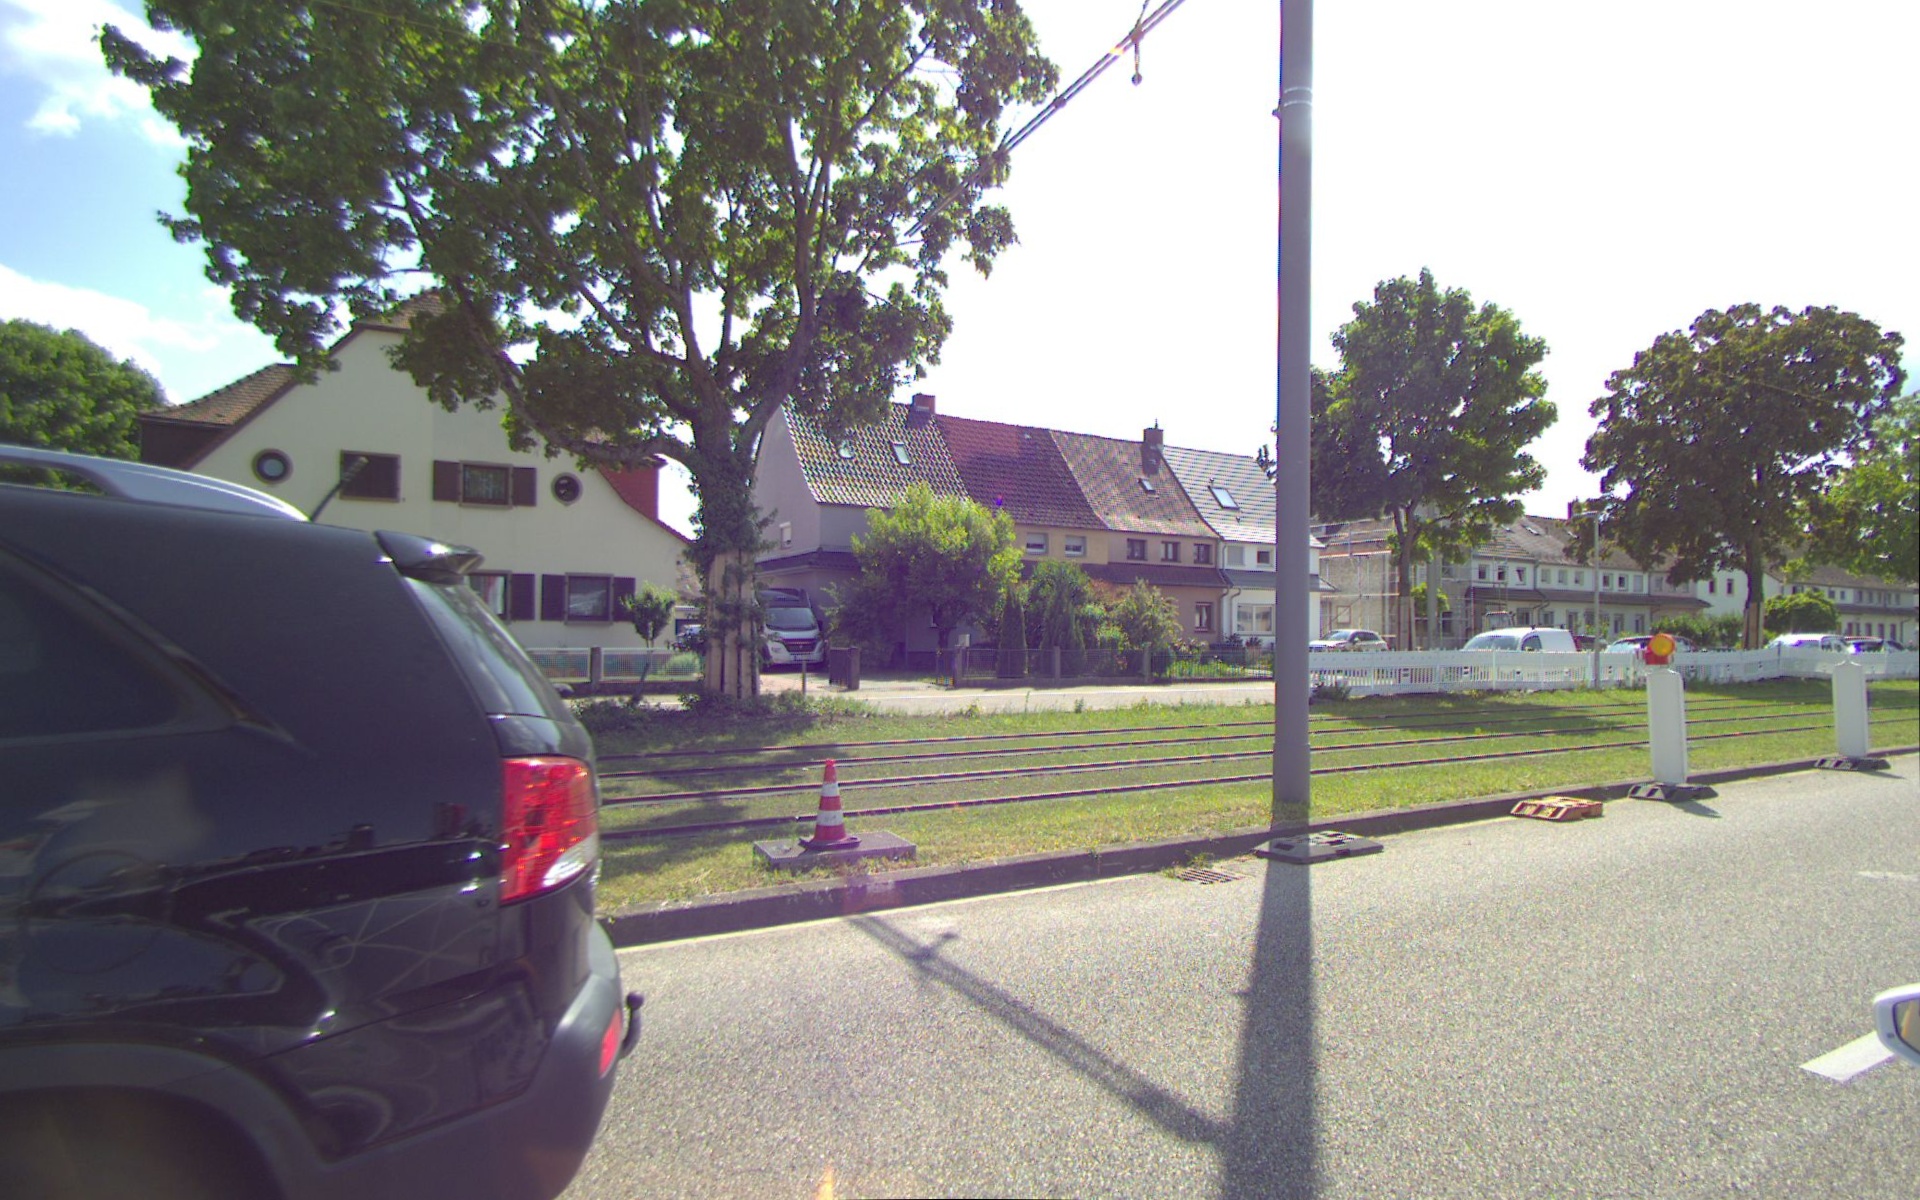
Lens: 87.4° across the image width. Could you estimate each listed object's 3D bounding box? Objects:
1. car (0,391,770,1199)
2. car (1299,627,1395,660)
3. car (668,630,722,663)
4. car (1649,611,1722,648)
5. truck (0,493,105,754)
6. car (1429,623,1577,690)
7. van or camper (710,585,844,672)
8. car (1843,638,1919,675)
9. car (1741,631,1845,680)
[{"bbox_3d":[-2.595,0.588,1.599,4.172,1.712,1.788,1,-3,-31],"label":"car"},{"bbox_3d":[16.086,1.806,41.698,4.072,1.291,1.527,2,-3,-30],"label":"car"},{"bbox_3d":[-10.940,1.891,41.342,1.330,1.189,2.846,2,0,-32],"label":"car"},{"bbox_3d":[42.482,1.731,58.809,3.954,2.040,1.984,2,0,-31],"label":"car"},{"bbox_3d":[-13.230,0.161,10.668,5.881,2.842,2.354,2,0,-30],"label":"truck"},{"bbox_3d":[14.412,1.498,26.639,3.954,1.647,1.645,2,-3,-30],"label":"car"},{"bbox_3d":[-6.395,0.888,34.326,2.470,2.667,6.303,2,0,-30],"label":"van or camper"},{"bbox_3d":[36.058,2.227,39.307,3.078,1.395,1.344,2,-3,-30],"label":"car"},{"bbox_3d":[29.797,2.000,35.921,3.853,1.673,1.615,2,-3,-30],"label":"car"}]
